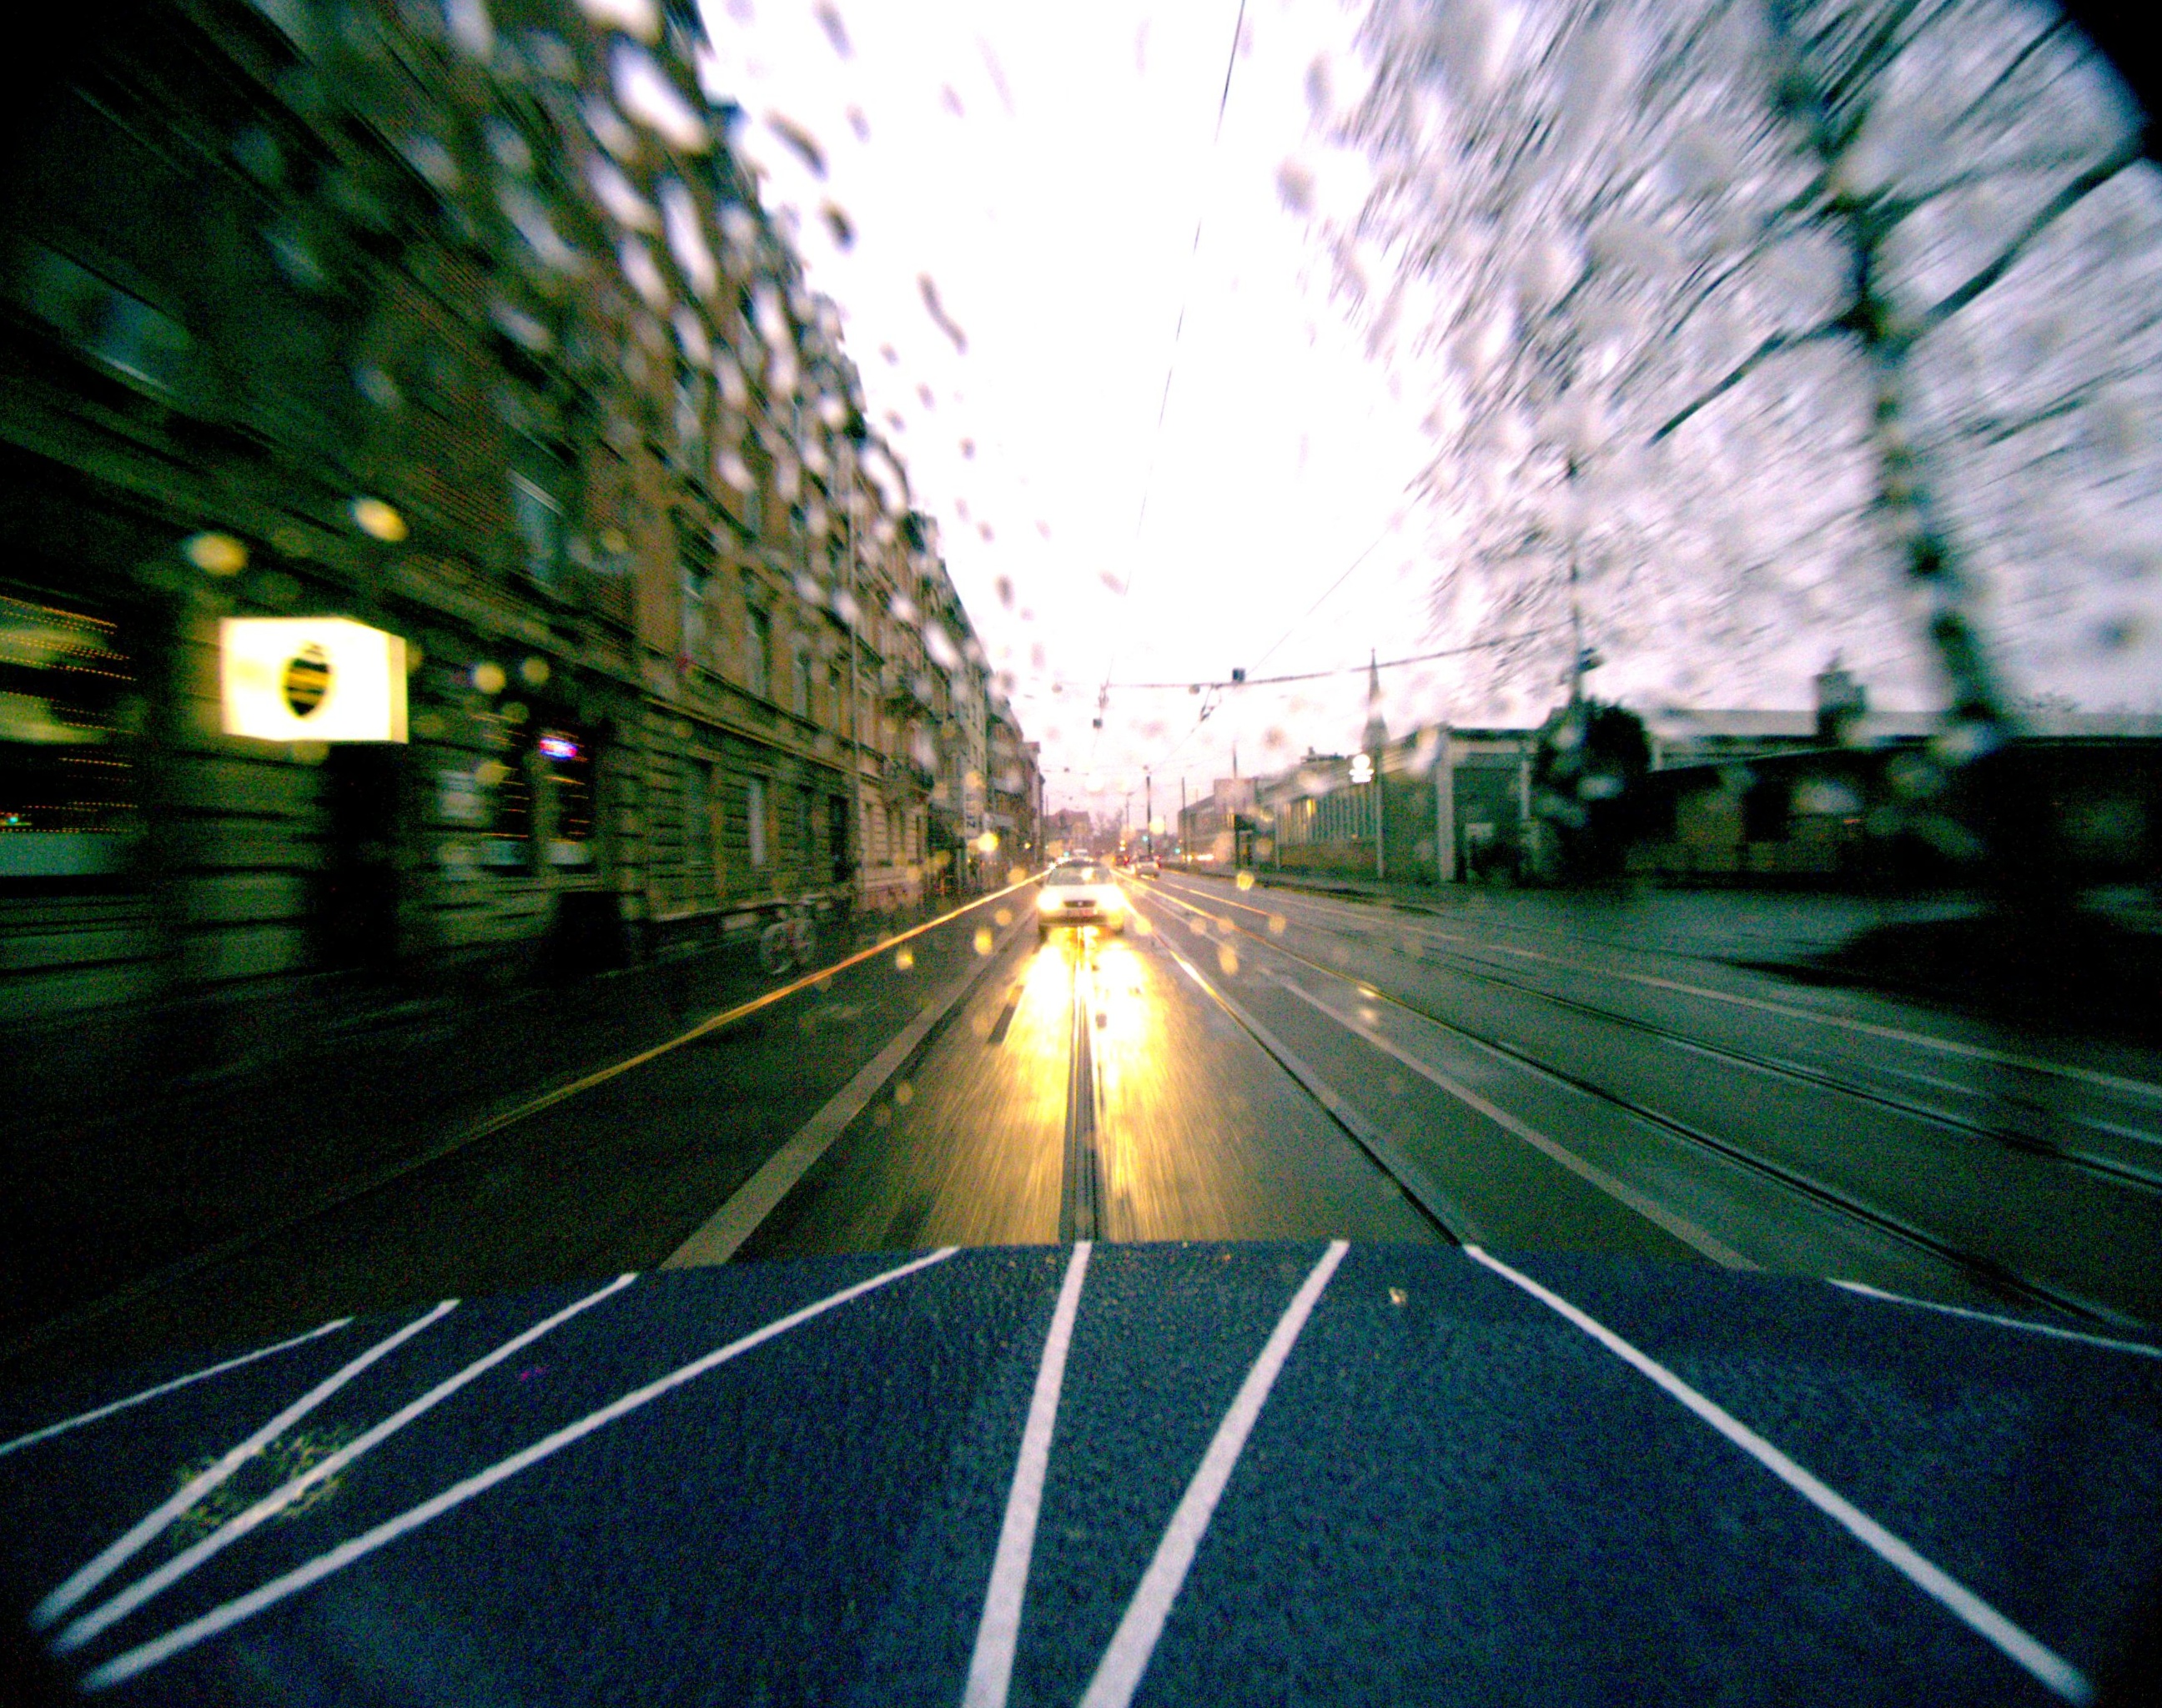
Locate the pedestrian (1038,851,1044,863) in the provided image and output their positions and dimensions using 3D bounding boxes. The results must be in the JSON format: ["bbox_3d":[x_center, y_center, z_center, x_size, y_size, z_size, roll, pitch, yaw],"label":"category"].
[{"bbox_3d":[-6.199,0.439,117.419,0.777,1.734,0.673,-1,1,1],"label":"pedestrian"}]

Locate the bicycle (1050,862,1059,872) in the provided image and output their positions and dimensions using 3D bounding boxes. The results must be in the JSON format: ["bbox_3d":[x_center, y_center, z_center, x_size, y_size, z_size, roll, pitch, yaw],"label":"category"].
[{"bbox_3d":[-2.682,1.284,76.792,0.725,0.985,2.212,-2,1,0],"label":"bicycle"}]

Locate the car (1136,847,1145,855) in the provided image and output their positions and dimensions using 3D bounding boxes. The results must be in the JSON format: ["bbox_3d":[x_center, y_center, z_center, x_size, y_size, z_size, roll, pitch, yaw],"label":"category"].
[{"bbox_3d":[14.559,-0.766,186.815,1.998,2.002,4.685,-2,1,4],"label":"car"}]

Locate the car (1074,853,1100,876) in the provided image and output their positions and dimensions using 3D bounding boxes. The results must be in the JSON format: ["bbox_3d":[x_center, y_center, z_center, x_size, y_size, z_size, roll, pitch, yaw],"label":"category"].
[{"bbox_3d":[0.492,0.731,56.182,1.824,1.565,4.000,-2,1,1],"label":"car"}]

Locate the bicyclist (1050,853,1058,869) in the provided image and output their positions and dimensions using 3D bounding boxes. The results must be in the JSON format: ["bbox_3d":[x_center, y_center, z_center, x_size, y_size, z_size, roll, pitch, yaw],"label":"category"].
[{"bbox_3d":[-2.694,0.684,76.878,0.727,1.525,0.785,-2,1,0],"label":"bicyclist"}]

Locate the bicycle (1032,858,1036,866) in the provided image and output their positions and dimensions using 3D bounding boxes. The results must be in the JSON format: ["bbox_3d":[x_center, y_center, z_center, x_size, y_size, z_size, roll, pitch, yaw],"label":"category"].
[{"bbox_3d":[-6.000,1.041,97.468,0.398,0.906,1.866,-2,0,0],"label":"bicycle"}]

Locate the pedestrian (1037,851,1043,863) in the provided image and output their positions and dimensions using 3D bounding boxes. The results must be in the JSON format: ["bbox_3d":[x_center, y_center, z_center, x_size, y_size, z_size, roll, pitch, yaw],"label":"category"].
[{"bbox_3d":[-6.257,0.490,116.268,0.777,1.734,0.673,-1,1,1],"label":"pedestrian"}]

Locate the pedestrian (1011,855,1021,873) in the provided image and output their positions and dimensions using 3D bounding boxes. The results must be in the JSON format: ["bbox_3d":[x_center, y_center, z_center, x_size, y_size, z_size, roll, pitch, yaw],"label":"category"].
[{"bbox_3d":[-5.596,0.859,65.345,0.788,1.588,0.741,-2,1,-1],"label":"pedestrian"}]

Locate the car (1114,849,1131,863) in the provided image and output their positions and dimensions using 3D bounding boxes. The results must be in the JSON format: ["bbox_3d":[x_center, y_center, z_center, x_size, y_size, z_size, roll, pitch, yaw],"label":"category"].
[{"bbox_3d":[5.235,0.261,95.842,1.880,1.700,4.760,-1,0,0],"label":"car"}]

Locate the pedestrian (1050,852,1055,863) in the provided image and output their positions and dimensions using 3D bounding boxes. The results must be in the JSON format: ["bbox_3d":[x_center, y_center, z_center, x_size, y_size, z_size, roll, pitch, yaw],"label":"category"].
[{"bbox_3d":[-4.432,0.547,117.474,0.777,1.734,0.673,-1,1,1],"label":"pedestrian"}]

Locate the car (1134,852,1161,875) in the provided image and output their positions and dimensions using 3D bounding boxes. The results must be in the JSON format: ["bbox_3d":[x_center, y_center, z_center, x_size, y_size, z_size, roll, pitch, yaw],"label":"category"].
[{"bbox_3d":[4.470,0.636,51.508,1.534,1.473,3.561,-2,0,1],"label":"car"}]

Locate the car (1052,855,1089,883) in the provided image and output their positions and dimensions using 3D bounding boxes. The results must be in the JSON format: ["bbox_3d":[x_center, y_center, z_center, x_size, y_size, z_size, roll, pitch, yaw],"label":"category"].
[{"bbox_3d":[-0.544,0.793,42.134,1.797,1.415,4.000,-2,1,2],"label":"car"}]

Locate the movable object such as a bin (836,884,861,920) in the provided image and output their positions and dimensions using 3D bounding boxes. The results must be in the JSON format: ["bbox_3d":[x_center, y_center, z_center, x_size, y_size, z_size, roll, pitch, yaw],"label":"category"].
[{"bbox_3d":[-6.346,1.297,20.767,0.508,0.926,0.507,-2,1,-1],"label":"movable object such as a bin"}]

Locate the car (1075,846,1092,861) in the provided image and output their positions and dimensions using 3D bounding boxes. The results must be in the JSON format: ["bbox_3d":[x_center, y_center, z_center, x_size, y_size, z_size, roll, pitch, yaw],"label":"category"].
[{"bbox_3d":[0.271,-0.097,95.197,2.018,1.809,3.688,-2,1,0],"label":"car"}]

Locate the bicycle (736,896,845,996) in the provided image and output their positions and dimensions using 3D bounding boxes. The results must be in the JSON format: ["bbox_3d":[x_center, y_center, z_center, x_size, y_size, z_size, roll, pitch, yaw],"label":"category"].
[{"bbox_3d":[-4.202,1.288,11.188,0.685,1.149,2.188,-2,1,0],"label":"bicycle"}]

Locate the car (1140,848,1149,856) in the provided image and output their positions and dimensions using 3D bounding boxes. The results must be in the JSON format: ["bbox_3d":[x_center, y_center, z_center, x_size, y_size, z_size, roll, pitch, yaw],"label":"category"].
[{"bbox_3d":[13.933,-0.484,166.674,1.845,1.569,4.442,-2,0,2],"label":"car"}]

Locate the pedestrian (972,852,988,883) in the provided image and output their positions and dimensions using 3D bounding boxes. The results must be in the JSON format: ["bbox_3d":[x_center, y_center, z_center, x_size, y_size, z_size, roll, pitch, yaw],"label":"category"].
[{"bbox_3d":[-5.957,0.791,44.887,0.601,1.808,0.774,-3,1,-27],"label":"pedestrian"}]

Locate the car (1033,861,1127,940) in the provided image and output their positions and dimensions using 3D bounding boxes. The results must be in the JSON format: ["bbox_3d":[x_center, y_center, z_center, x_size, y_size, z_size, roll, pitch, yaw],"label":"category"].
[{"bbox_3d":[0.051,0.930,16.830,1.797,1.415,4.000,-2,1,2],"label":"car"}]
